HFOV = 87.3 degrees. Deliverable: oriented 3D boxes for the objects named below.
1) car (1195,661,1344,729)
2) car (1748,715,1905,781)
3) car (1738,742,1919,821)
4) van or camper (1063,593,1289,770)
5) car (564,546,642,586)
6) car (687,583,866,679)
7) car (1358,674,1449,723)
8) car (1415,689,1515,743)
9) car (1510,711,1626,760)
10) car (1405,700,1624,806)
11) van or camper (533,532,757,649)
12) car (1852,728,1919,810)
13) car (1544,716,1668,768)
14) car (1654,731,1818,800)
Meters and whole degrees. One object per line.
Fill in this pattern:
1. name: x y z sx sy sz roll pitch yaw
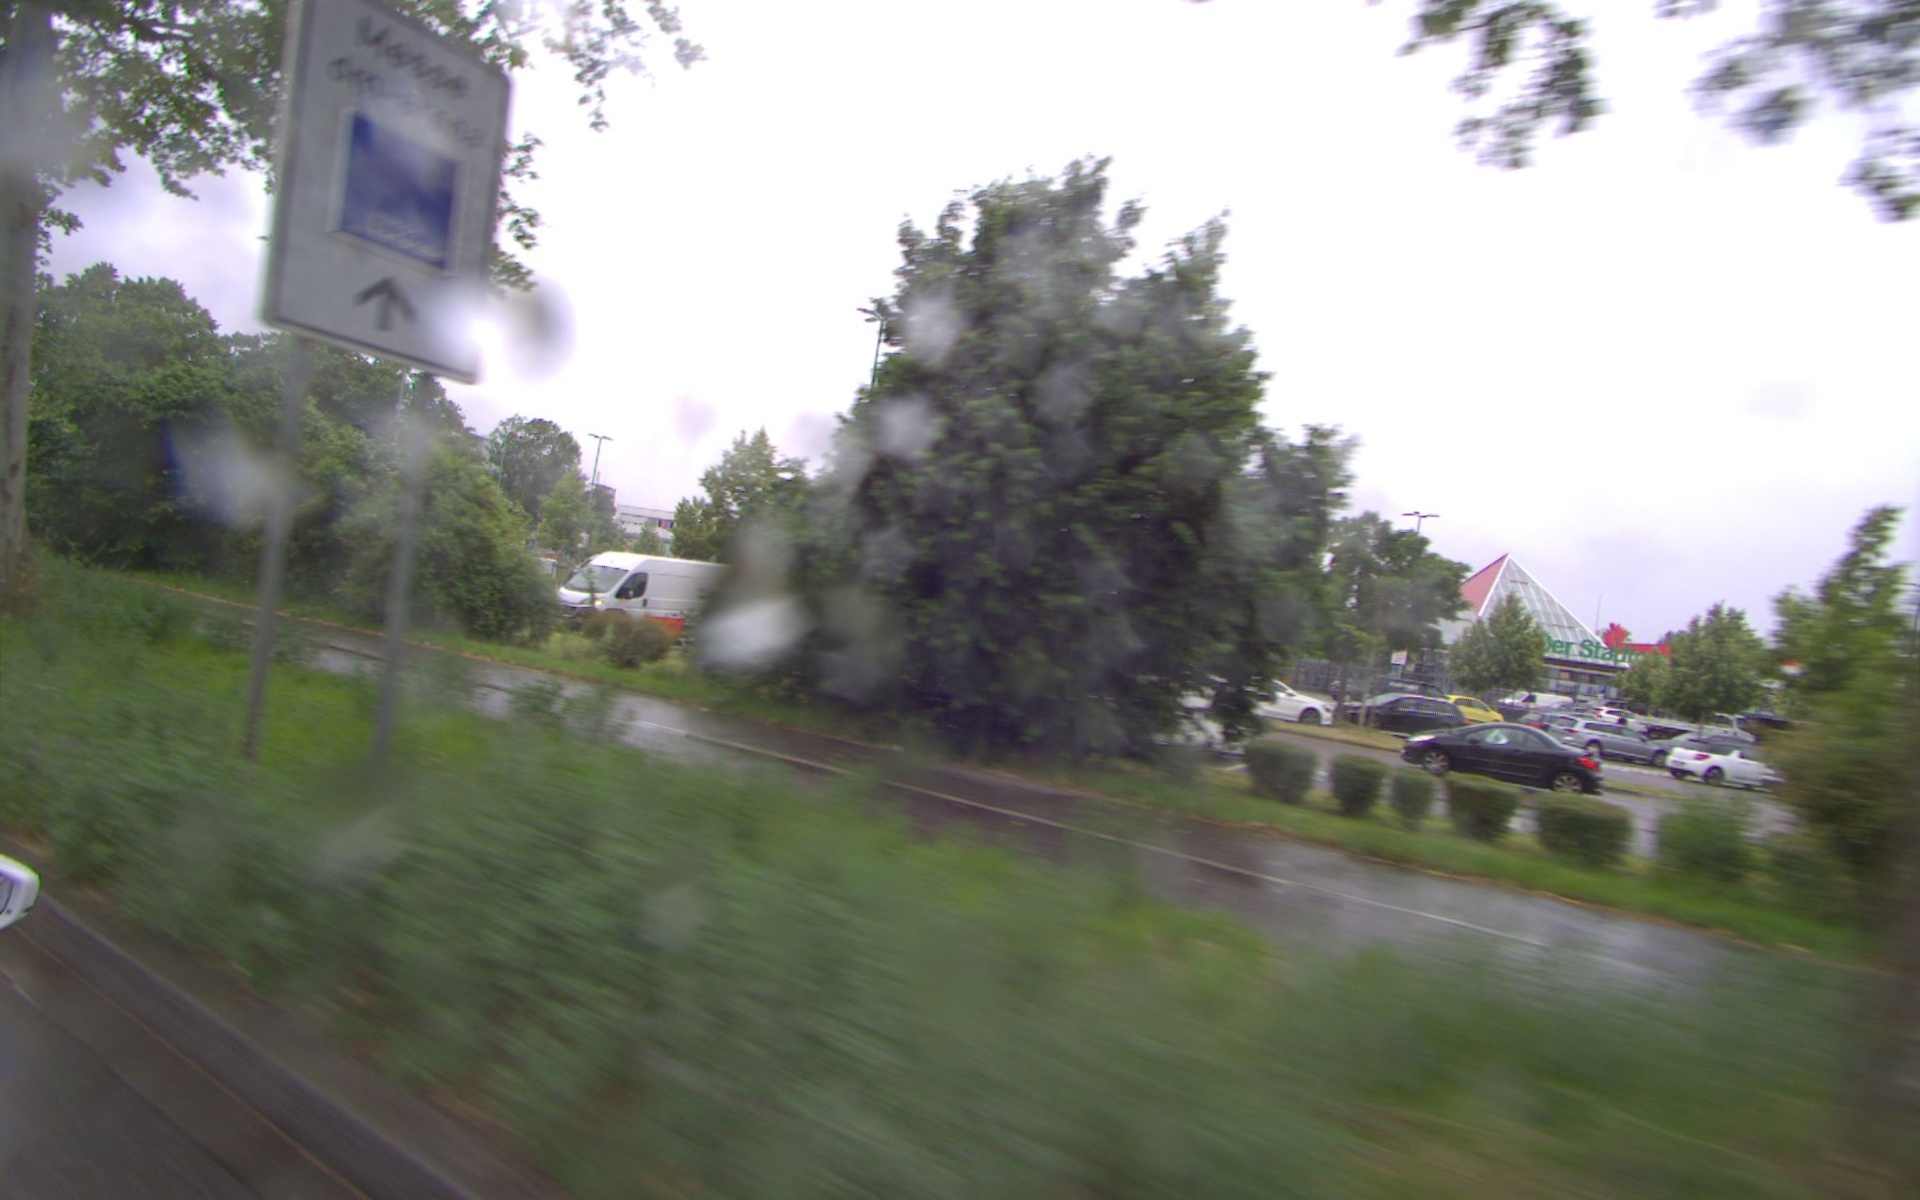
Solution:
1. car: 9.769 2.979 31.934 4.002 1.496 1.785 8 -1 -3
2. car: 32.452 5.525 37.780 3.956 1.653 1.941 8 -1 3
3. car: 26.211 5.423 30.130 4.261 1.544 1.939 9 -1 -3
4. van or camper: 4.351 1.630 19.299 1.967 2.618 5.733 11 0 33
5. car: -29.667 -2.802 83.767 5.572 2.361 2.000 8 -2 -6
6. car: -4.223 0.802 23.788 1.849 1.774 3.996 7 -2 30
7. car: 24.363 5.383 55.314 3.928 2.037 1.899 8 -1 -3
8. car: 25.592 5.866 51.032 3.928 2.037 1.899 8 -1 -3
9. car: 25.508 5.690 42.274 3.804 1.371 1.565 8 -1 -1
10. car: 12.124 3.286 22.081 3.936 1.579 1.866 6 -3 34
11. van or camper: -8.876 -0.148 29.165 1.966 2.573 6.378 7 -2 29
12. car: 34.095 6.027 32.912 7.436 2.383 2.588 9 -1 -1
13. car: 25.539 5.593 39.854 3.804 1.371 1.565 8 -1 -1
14. car: 25.579 5.443 33.245 3.959 1.471 1.805 9 -1 -3
